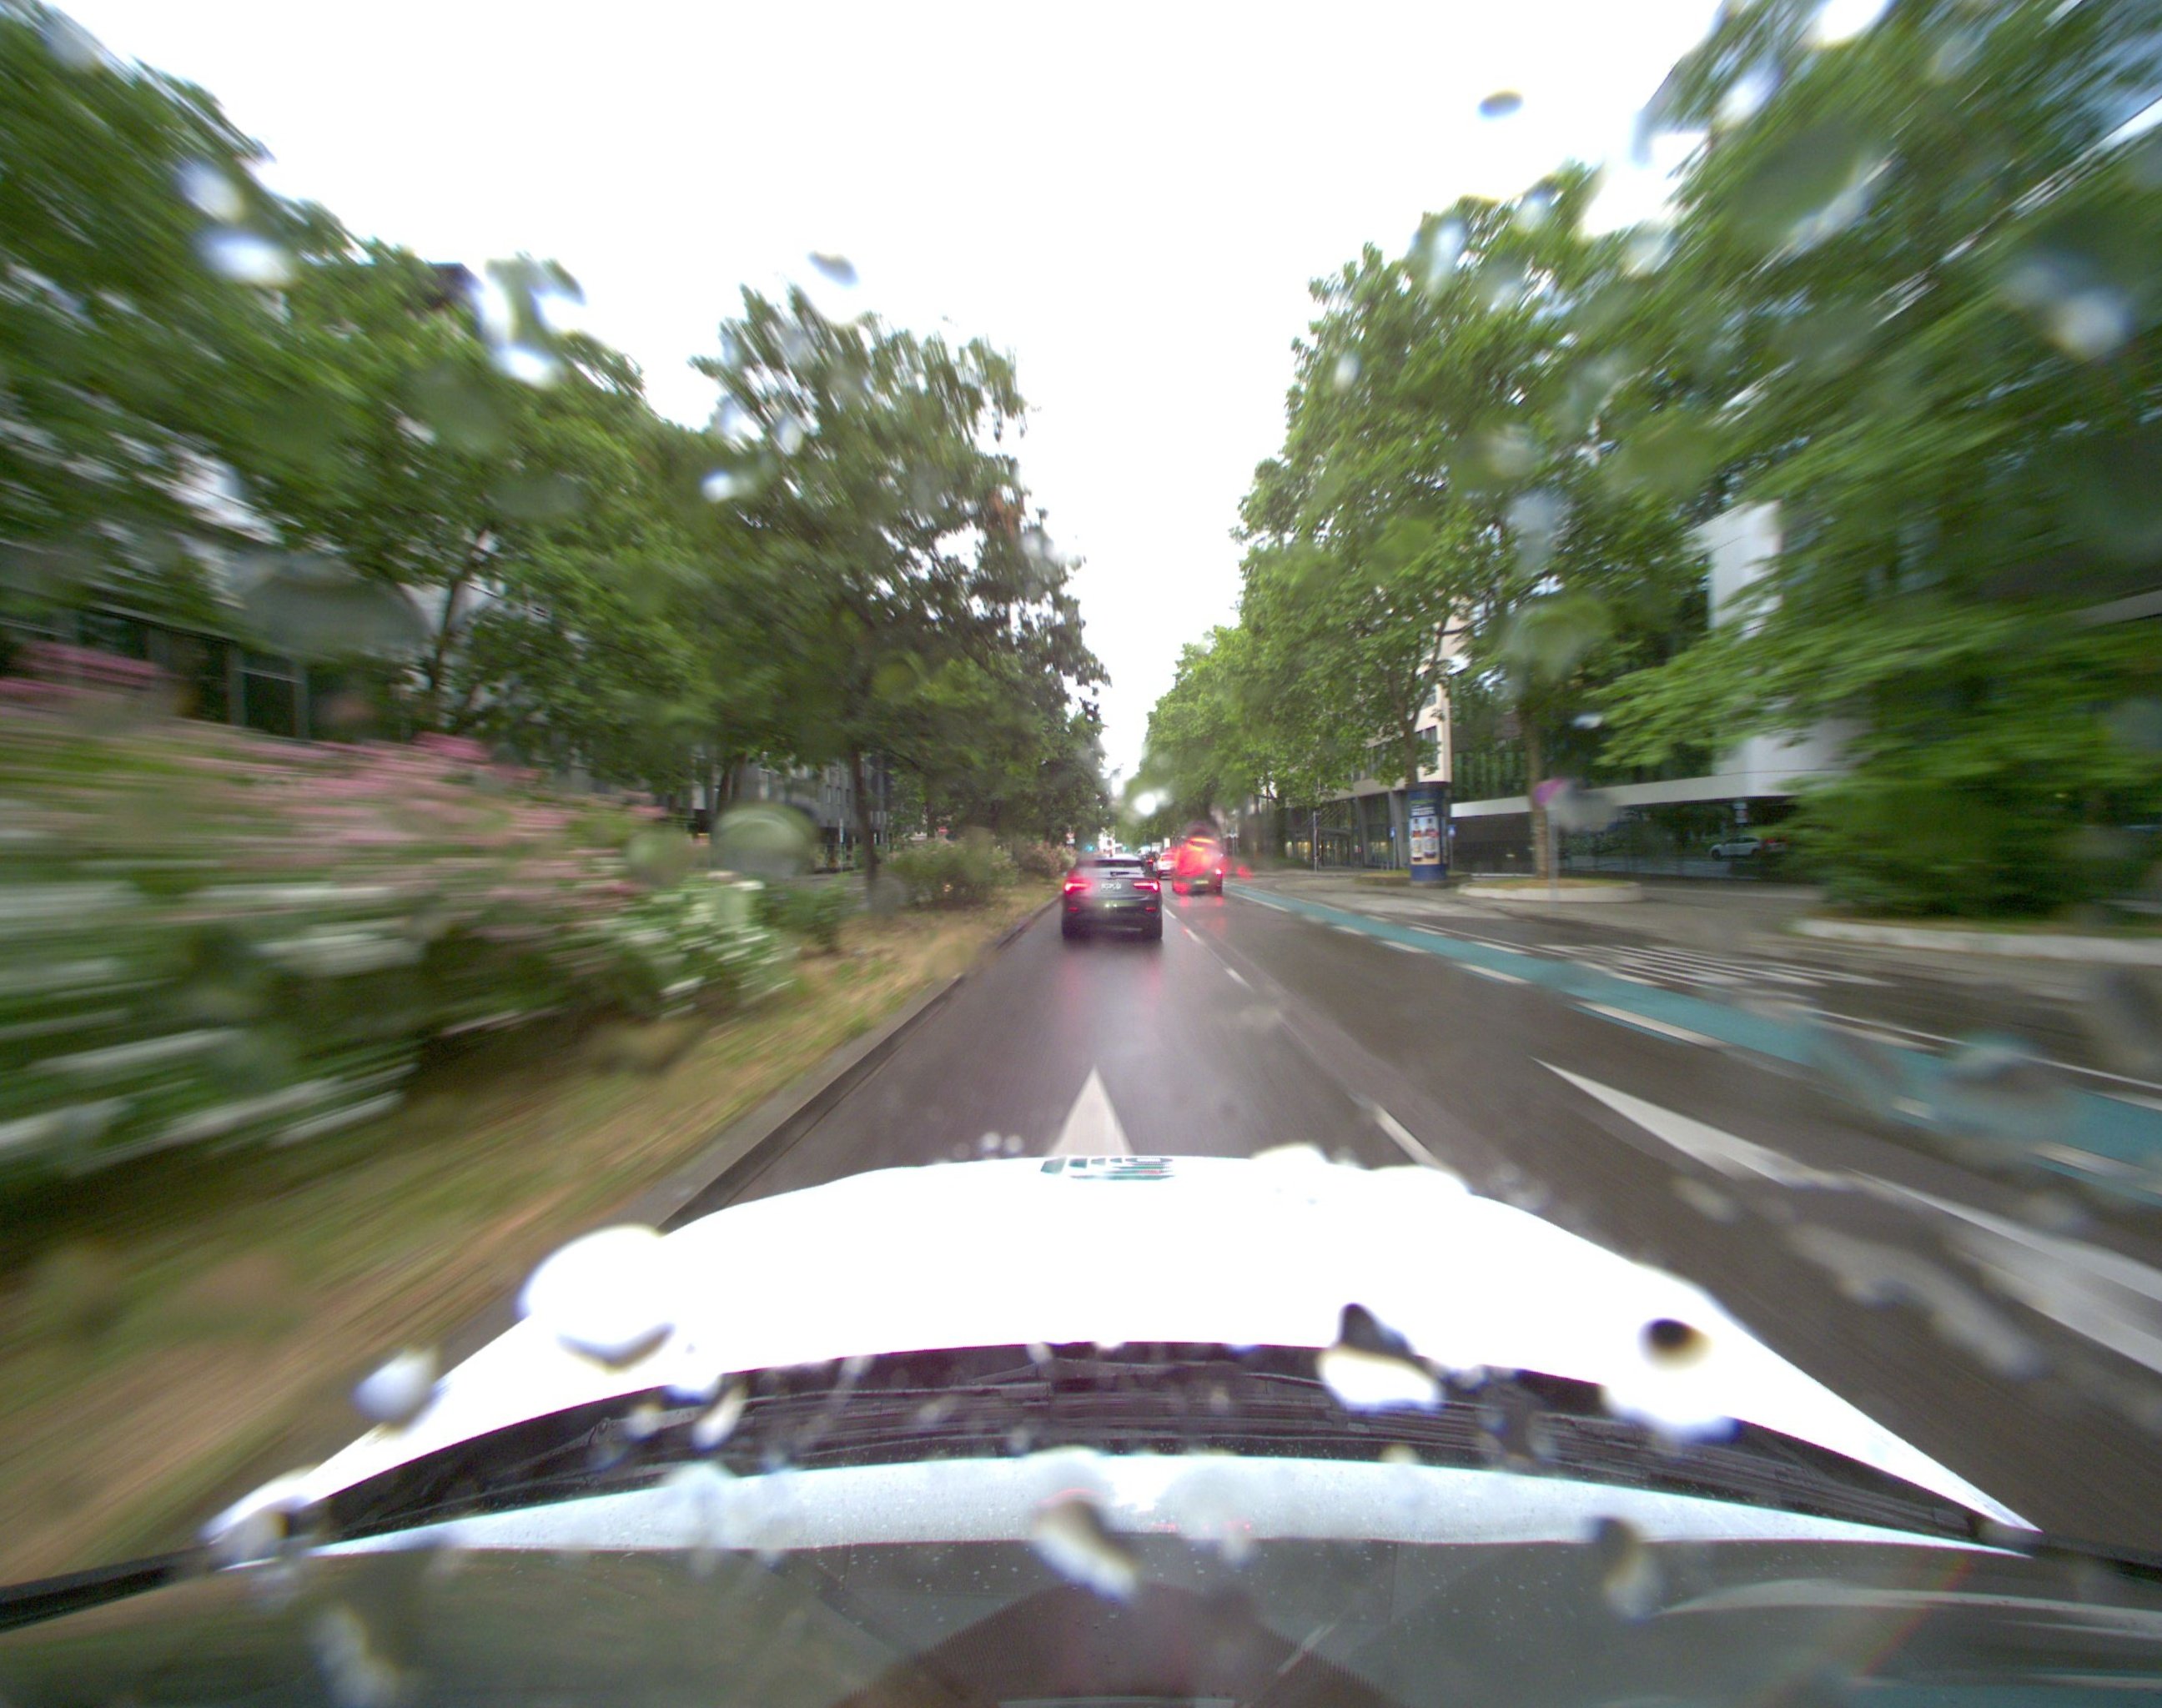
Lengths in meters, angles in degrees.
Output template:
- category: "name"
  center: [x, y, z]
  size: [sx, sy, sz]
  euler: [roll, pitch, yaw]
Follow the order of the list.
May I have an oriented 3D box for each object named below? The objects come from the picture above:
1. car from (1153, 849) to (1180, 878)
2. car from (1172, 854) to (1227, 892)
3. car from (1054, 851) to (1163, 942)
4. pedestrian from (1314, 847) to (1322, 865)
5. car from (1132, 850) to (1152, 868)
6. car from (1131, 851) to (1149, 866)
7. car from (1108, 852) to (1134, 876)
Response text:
- category: "car"
  center: [5.306, 0.561, 50.703]
  size: [1.427, 1.685, 2.981]
  euler: [-1, 0, 2]
- category: "car"
  center: [4.763, 0.733, 33.167]
  size: [1.758, 1.413, 4.002]
  euler: [-1, 0, 2]
- category: "car"
  center: [0.602, 0.713, 16.175]
  size: [1.855, 1.532, 4.531]
  euler: [-1, 0, 3]
- category: "pedestrian"
  center: [24.063, 0.223, 82.672]
  size: [0.648, 1.816, 0.656]
  euler: [-1, 0, 1]
- category: "car"
  center: [6.078, 0.478, 80.952]
  size: [1.815, 1.750, 4.003]
  euler: [-1, 0, 2]
- category: "car"
  center: [7.061, 0.526, 98.282]
  size: [1.986, 1.750, 4.003]
  euler: [-1, 0, 2]
- category: "car"
  center: [2.693, 0.641, 55.453]
  size: [1.715, 1.577, 3.963]
  euler: [-1, 0, 2]
